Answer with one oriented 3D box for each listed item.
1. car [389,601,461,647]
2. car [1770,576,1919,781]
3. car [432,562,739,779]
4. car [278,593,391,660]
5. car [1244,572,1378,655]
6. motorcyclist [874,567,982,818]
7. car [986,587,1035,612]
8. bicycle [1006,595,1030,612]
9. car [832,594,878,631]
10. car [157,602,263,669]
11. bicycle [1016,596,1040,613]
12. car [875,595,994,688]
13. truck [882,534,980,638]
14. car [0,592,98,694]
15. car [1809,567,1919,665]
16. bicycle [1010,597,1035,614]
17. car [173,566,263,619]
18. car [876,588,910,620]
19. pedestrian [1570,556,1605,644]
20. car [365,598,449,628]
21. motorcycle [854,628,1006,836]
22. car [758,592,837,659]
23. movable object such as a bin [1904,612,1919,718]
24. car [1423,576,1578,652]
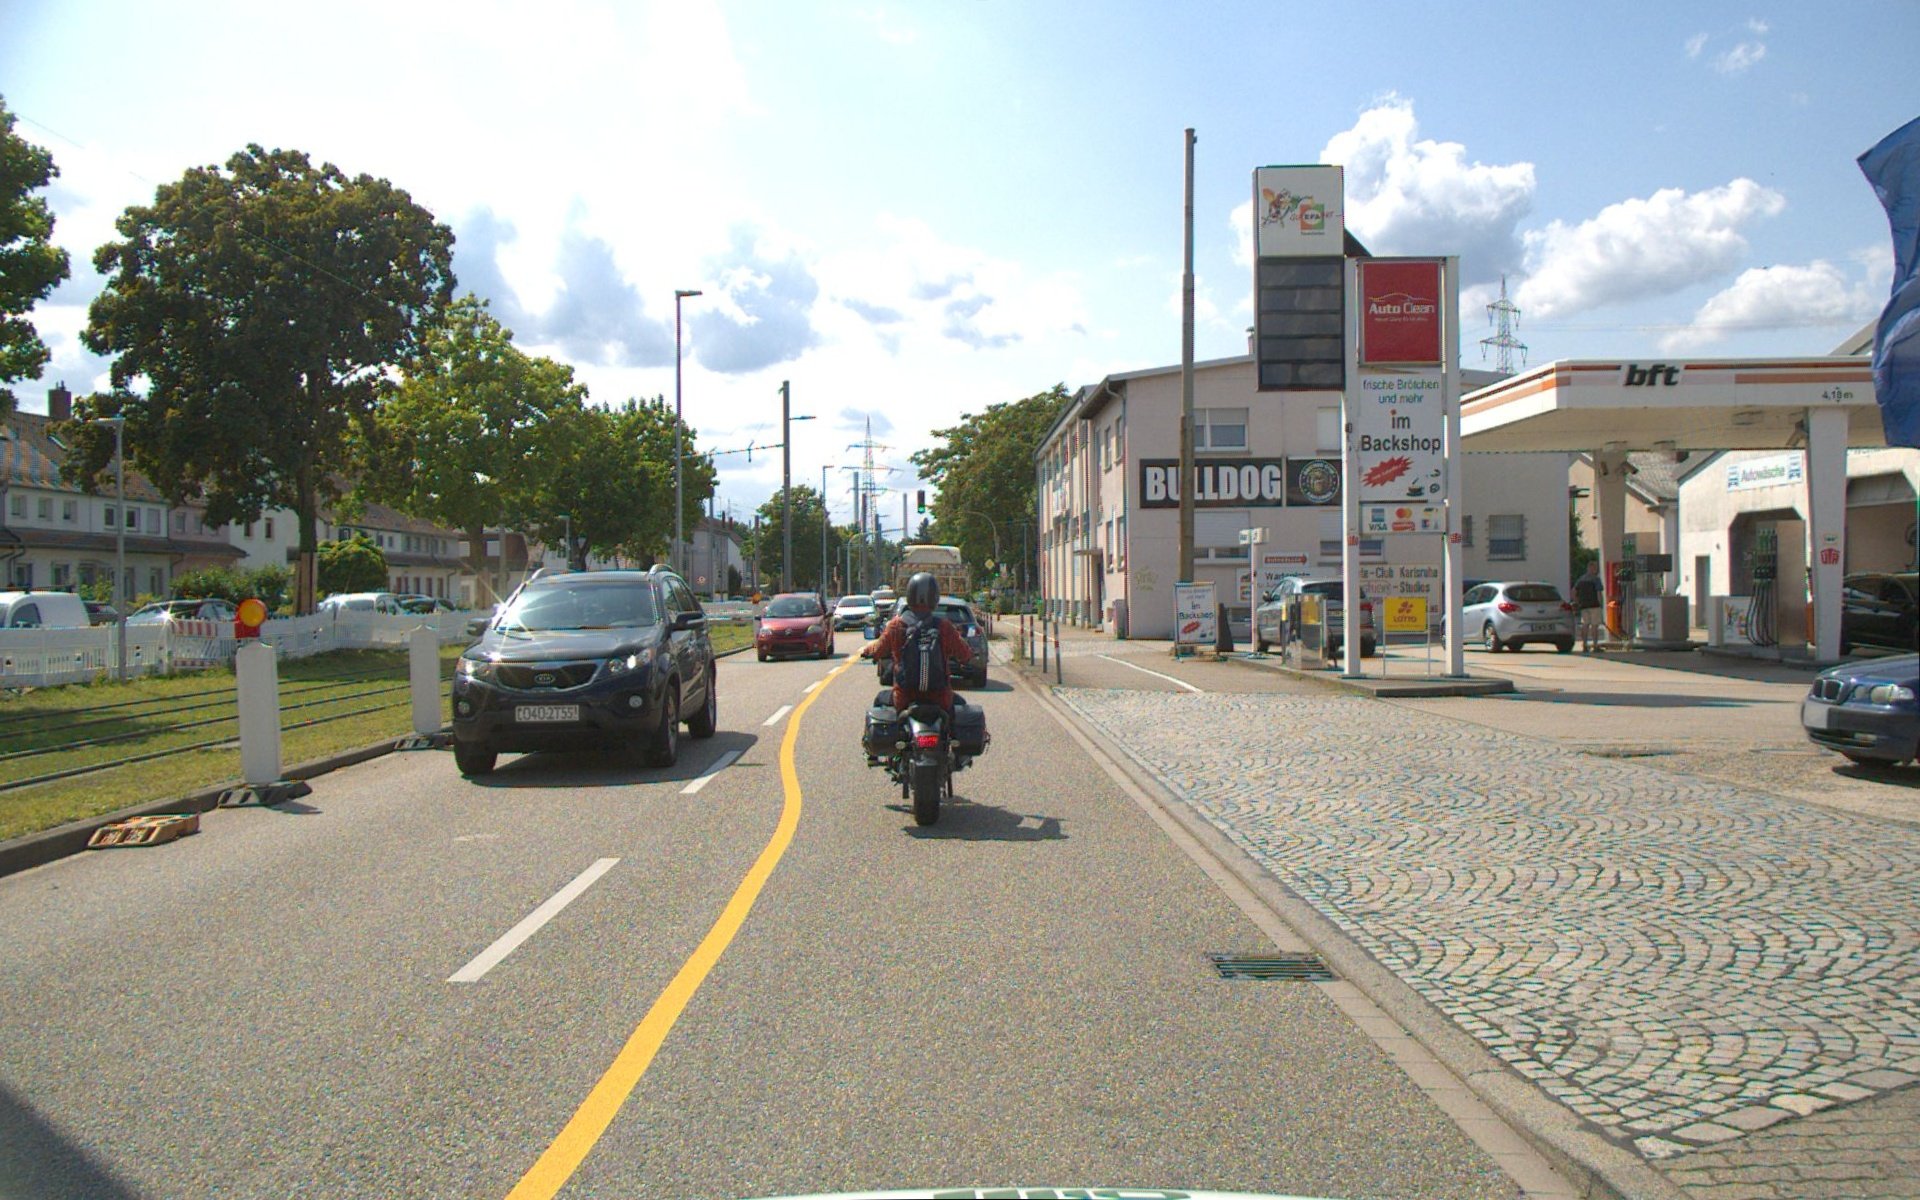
[{"bbox_3d":[-17.253,0.756,53.411,1.322,1.401,3.113,-2,0,-1],"label":"car"},{"bbox_3d":[8.366,0.561,12.208,3.967,1.432,1.648,0,0,6],"label":"car"},{"bbox_3d":[-3.311,0.554,15.476,1.759,1.719,4.222,-1,0,2],"label":"car"},{"bbox_3d":[-16.786,0.687,44.564,1.589,1.680,3.898,-2,0,-1],"label":"car"},{"bbox_3d":[7.382,0.264,35.222,1.906,1.653,4.616,0,0,0],"label":"car"},{"bbox_3d":[-0.212,0.611,11.212,0.684,1.632,0.692,1,-1,-1],"label":"motorcyclist"},{"bbox_3d":[4.118,-0.016,135.260,1.773,1.959,3.972,0,-1,44],"label":"car"},{"bbox_3d":[4.101,0.238,116.482,1.672,1.192,0.438,1,-1,4],"label":"bicycle"},{"bbox_3d":[-4.413,0.533,70.216,1.784,1.470,4.482,-2,0,-2],"label":"car"},{"bbox_3d":[-16.248,0.753,35.914,1.050,1.371,2.449,-2,0,3],"label":"car"},{"bbox_3d":[4.761,0.313,115.805,1.672,1.192,0.438,1,-1,4],"label":"bicycle"},{"bbox_3d":[-0.501,0.657,28.192,1.698,1.428,4.082,1,0,-5],"label":"car"},{"bbox_3d":[-0.888,-0.417,56.360,2.906,3.229,7.765,1,0,2],"label":"truck"},{"bbox_3d":[-16.352,0.731,27.826,1.619,1.654,4.000,-2,0,-1],"label":"car"},{"bbox_3d":[16.542,0.239,28.332,1.648,1.546,4.492,-1,2,-1],"label":"car"},{"bbox_3d":[4.329,0.383,114.943,1.672,1.192,0.438,1,-1,4],"label":"bicycle"},{"bbox_3d":[-30.478,-0.285,68.070,1.953,2.049,3.999,1,0,-2],"label":"car"},{"bbox_3d":[-3.708,0.235,92.041,1.787,1.695,4.461,-2,0,-1],"label":"car"},{"bbox_3d":[13.034,0.006,34.363,0.487,1.807,0.577,1,-1,-3],"label":"pedestrian"},{"bbox_3d":[-29.789,0.690,89.131,3.906,1.536,1.725,-1,0,-2],"label":"car"},{"bbox_3d":[-0.204,0.840,11.501,0.923,1.221,2.472,1,0,-1],"label":"motorcycle"},{"bbox_3d":[-3.812,0.584,39.326,1.546,1.495,3.719,1,0,-1],"label":"car"},{"bbox_3d":[9.598,0.633,15.947,0.569,1.028,0.706,1,-1,-2],"label":"movable object such as a bin"},{"bbox_3d":[11.708,0.304,36.125,1.658,1.496,4.420,-2,0,-4],"label":"car"}]
